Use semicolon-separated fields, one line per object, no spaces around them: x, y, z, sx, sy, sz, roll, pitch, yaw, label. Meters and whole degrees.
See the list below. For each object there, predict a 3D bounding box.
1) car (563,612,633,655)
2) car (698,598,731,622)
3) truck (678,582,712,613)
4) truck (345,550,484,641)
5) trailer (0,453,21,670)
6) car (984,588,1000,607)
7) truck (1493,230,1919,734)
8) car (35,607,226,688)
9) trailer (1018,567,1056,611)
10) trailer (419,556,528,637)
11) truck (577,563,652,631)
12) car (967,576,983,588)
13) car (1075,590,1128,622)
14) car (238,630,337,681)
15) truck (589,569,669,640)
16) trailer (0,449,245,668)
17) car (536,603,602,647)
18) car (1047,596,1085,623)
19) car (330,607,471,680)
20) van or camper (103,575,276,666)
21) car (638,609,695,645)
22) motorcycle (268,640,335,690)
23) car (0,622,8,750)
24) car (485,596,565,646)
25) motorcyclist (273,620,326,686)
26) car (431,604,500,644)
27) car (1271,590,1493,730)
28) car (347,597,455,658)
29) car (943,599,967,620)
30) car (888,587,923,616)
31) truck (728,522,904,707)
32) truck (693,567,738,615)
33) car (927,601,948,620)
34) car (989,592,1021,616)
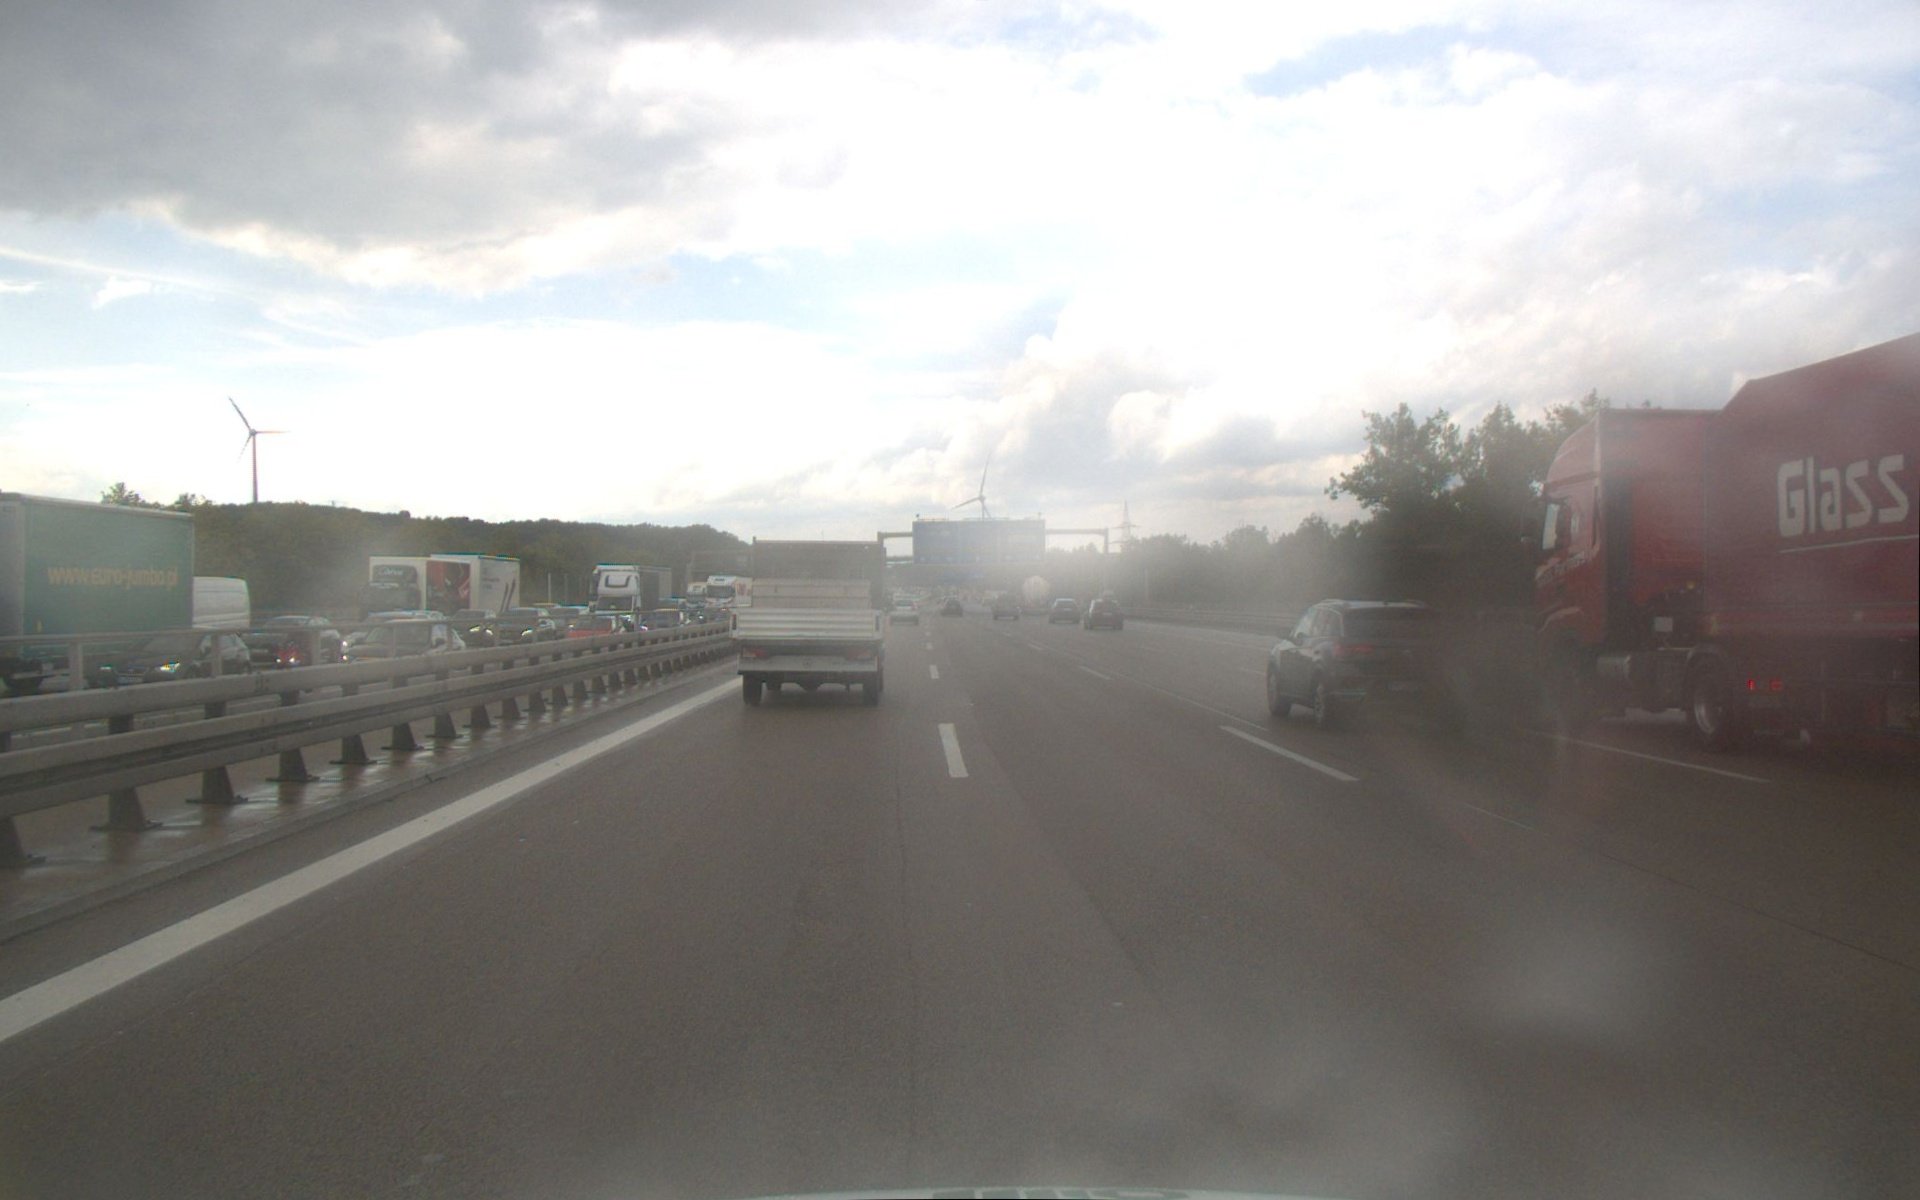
-12.744;1.144;58.440;1.541;1.377;4.383;-1;0;-1;car
-18.067;0.720;121.711;1.784;1.652;4.697;-1;0;-1;car
-26.745;-0.284;167.118;2.466;3.038;7.019;-1;0;-2;truck
-25.354;-0.199;77.549;3.160;3.978;10.280;1;0;-1;truck
-19.520;-0.739;28.788;2.777;4.100;6.313;1;0;-1;trailer
4.185;-0.340;216.222;2.003;2.541;4.000;0;0;-1;car
9.263;-0.970;15.650;3.088;4.073;15.632;0;0;-1;truck
-16.334;0.893;32.808;1.794;1.477;3.999;0;0;-1;car
7.800;-1.090;169.665;3.264;4.249;11.837;1;0;0;trailer
-25.470;-0.179;87.097;3.153;4.028;8.848;1;0;-1;trailer
-21.292;-0.172;102.382;3.134;4.002;7.572;1;0;-1;truck
1.923;-2.259;212.171;1.776;1.471;3.997;-1;0;-3;car
7.419;0.308;87.146;2.063;1.634;5.062;0;0;-4;car
-19.899;1.615;49.055;1.541;1.356;3.431;-1;0;-1;car
-17.067;0.210;85.864;2.468;3.458;8.539;-1;0;-1;truck
-19.672;-0.811;36.634;2.761;4.132;11.600;1;0;-1;trailer
-16.818;1.043;71.307;1.684;1.729;5.054;-1;0;-1;car
7.108;0.625;111.366;2.005;1.729;5.003;0;0;-4;car
-12.275;0.915;36.558;1.794;1.477;3.999;0;0;-1;car
-24.108;0.588;52.162;2.198;2.623;7.361;-1;0;-2;van or camper
-13.421;1.207;75.935;1.684;1.529;5.501;-1;0;-1;car
-14.054;1.377;35.353;0.719;0.983;1.789;-1;0;-1;motorcycle
-11.686;0.990;16.255;1.884;1.443;5.010;-1;0;-2;car
-16.174;0.738;61.764;1.684;1.758;5.103;-1;0;-1;car
-14.061;1.115;35.234;0.713;1.365;1.030;-1;0;-1;motorcyclist
-20.830;0.991;69.788;1.685;1.562;4.085;-1;0;-1;car
5.169;0.688;20.756;1.756;1.590;3.720;0;0;-1;car
-16.037;0.739;47.676;1.728;1.653;4.777;0;0;-4;car
-0.478;0.817;143.778;2.004;1.729;3.999;0;0;-2;car
-3.192;0.073;97.562;2.003;1.729;4.000;0;0;-1;car
-2.140;0.170;25.743;2.306;2.450;7.353;1;0;-4;truck
-22.505;-0.828;152.488;3.113;4.267;7.736;-1;0;-1;truck
-2.212;1.015;162.363;1.933;1.729;3.997;0;0;-4;car
3.396;0.289;126.070;2.056;1.729;3.997;0;0;-4;car
